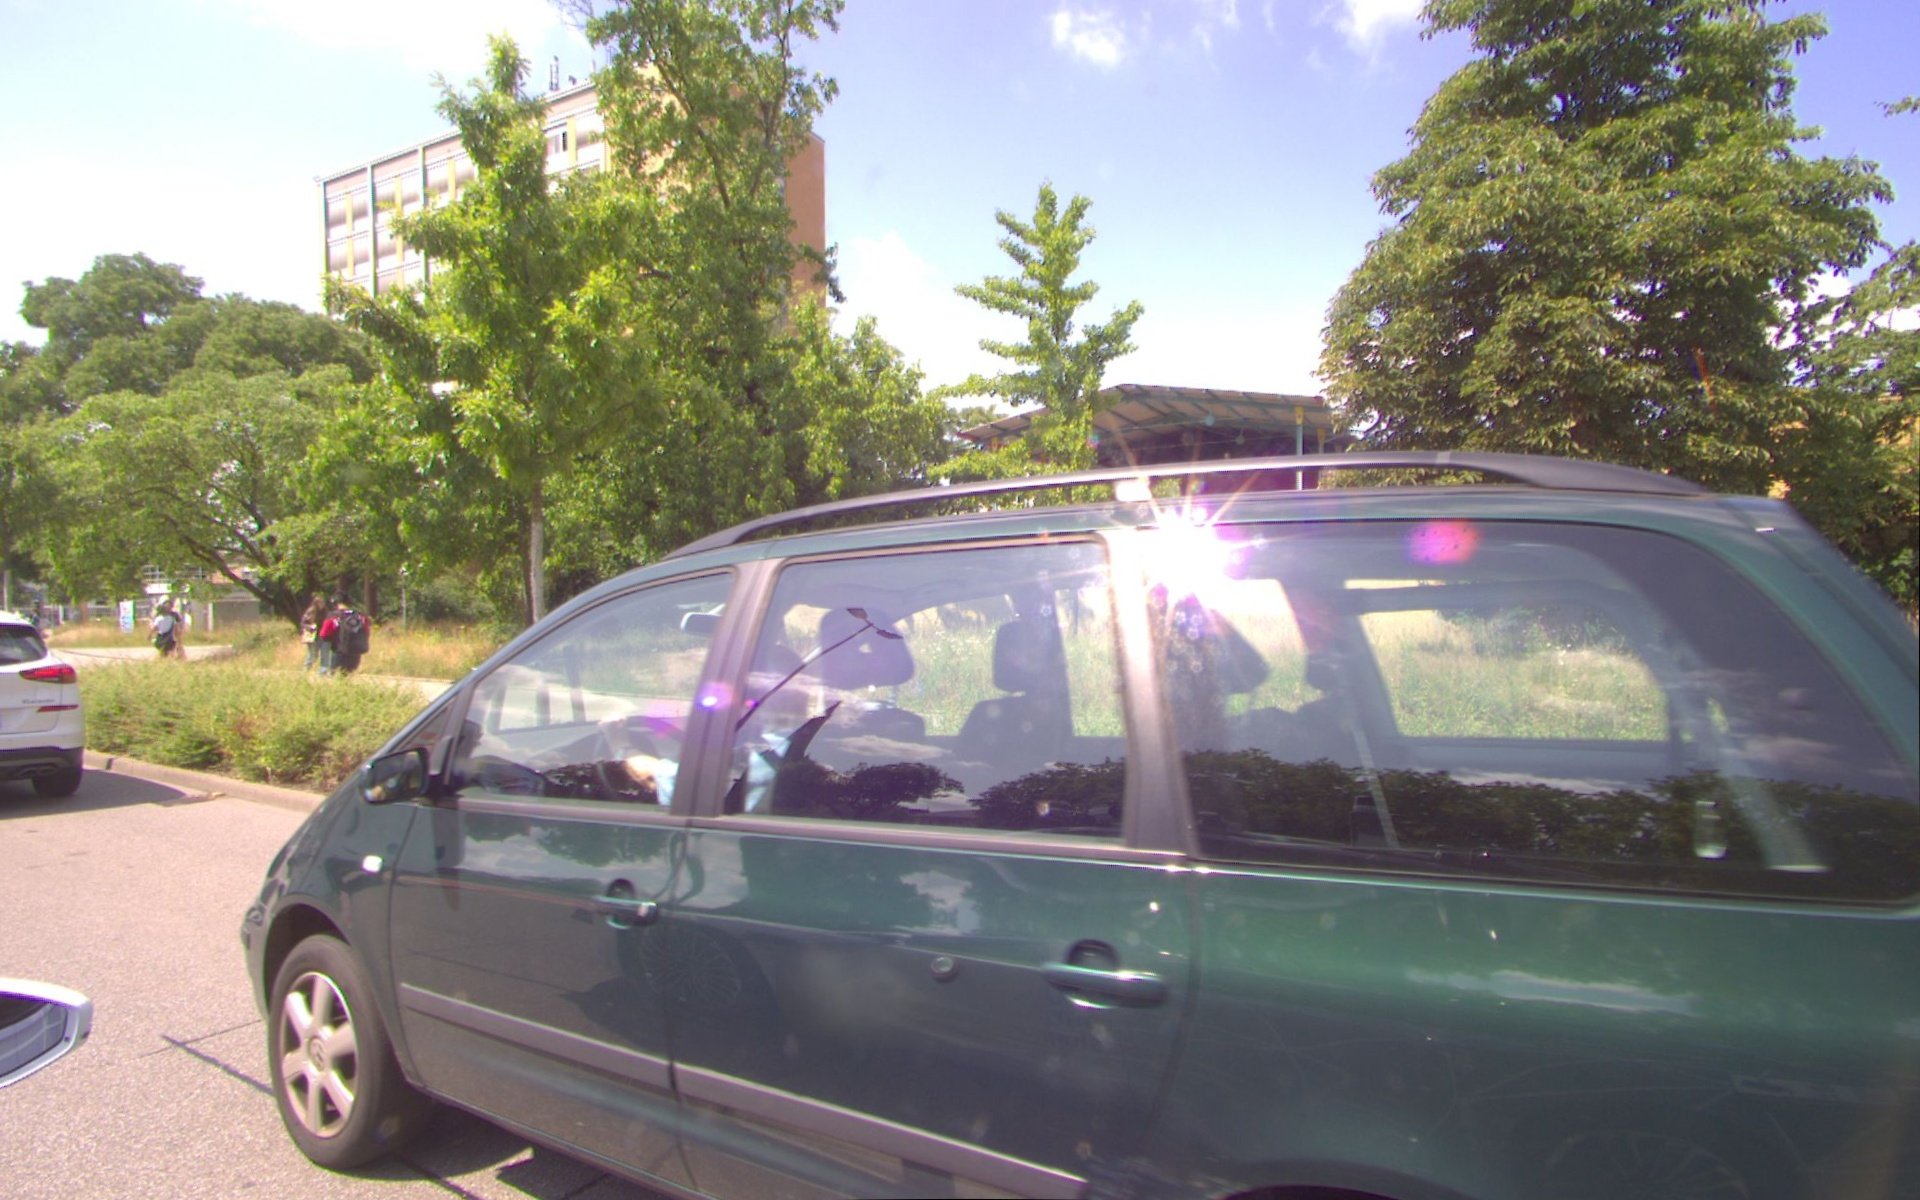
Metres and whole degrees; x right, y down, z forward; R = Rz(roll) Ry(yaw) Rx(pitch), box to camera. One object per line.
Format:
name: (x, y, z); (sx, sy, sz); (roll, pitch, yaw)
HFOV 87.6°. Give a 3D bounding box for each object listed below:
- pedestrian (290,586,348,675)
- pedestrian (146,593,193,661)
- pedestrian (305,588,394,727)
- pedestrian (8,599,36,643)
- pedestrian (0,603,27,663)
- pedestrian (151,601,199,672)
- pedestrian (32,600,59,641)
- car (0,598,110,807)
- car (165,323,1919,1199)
pedestrian: (-13.122, 0.614, 20.502); (0.865, 1.774, 0.665); (0, 2, 32)
pedestrian: (-20.953, 0.701, 26.547); (0.657, 1.774, 0.748); (0, 2, 31)
pedestrian: (-8.139, 0.739, 13.359); (0.836, 1.774, 0.665); (0, 2, 32)
pedestrian: (-40.104, 0.882, 42.830); (0.602, 1.827, 0.746); (1, 2, 39)
pedestrian: (-28.827, 0.979, 30.299); (0.600, 1.770, 0.666); (0, 2, 27)
pedestrian: (-18.394, 0.834, 23.454); (0.638, 1.618, 0.665); (0, 2, 32)
pedestrian: (-39.802, 0.883, 43.589); (0.602, 1.776, 0.746); (1, 2, 39)
car: (-9.477, 0.825, 8.927); (4.174, 1.663, 1.876); (0, 0, 34)
car: (-0.175, 0.648, 2.736); (4.385, 1.745, 1.791); (0, -2, 33)
